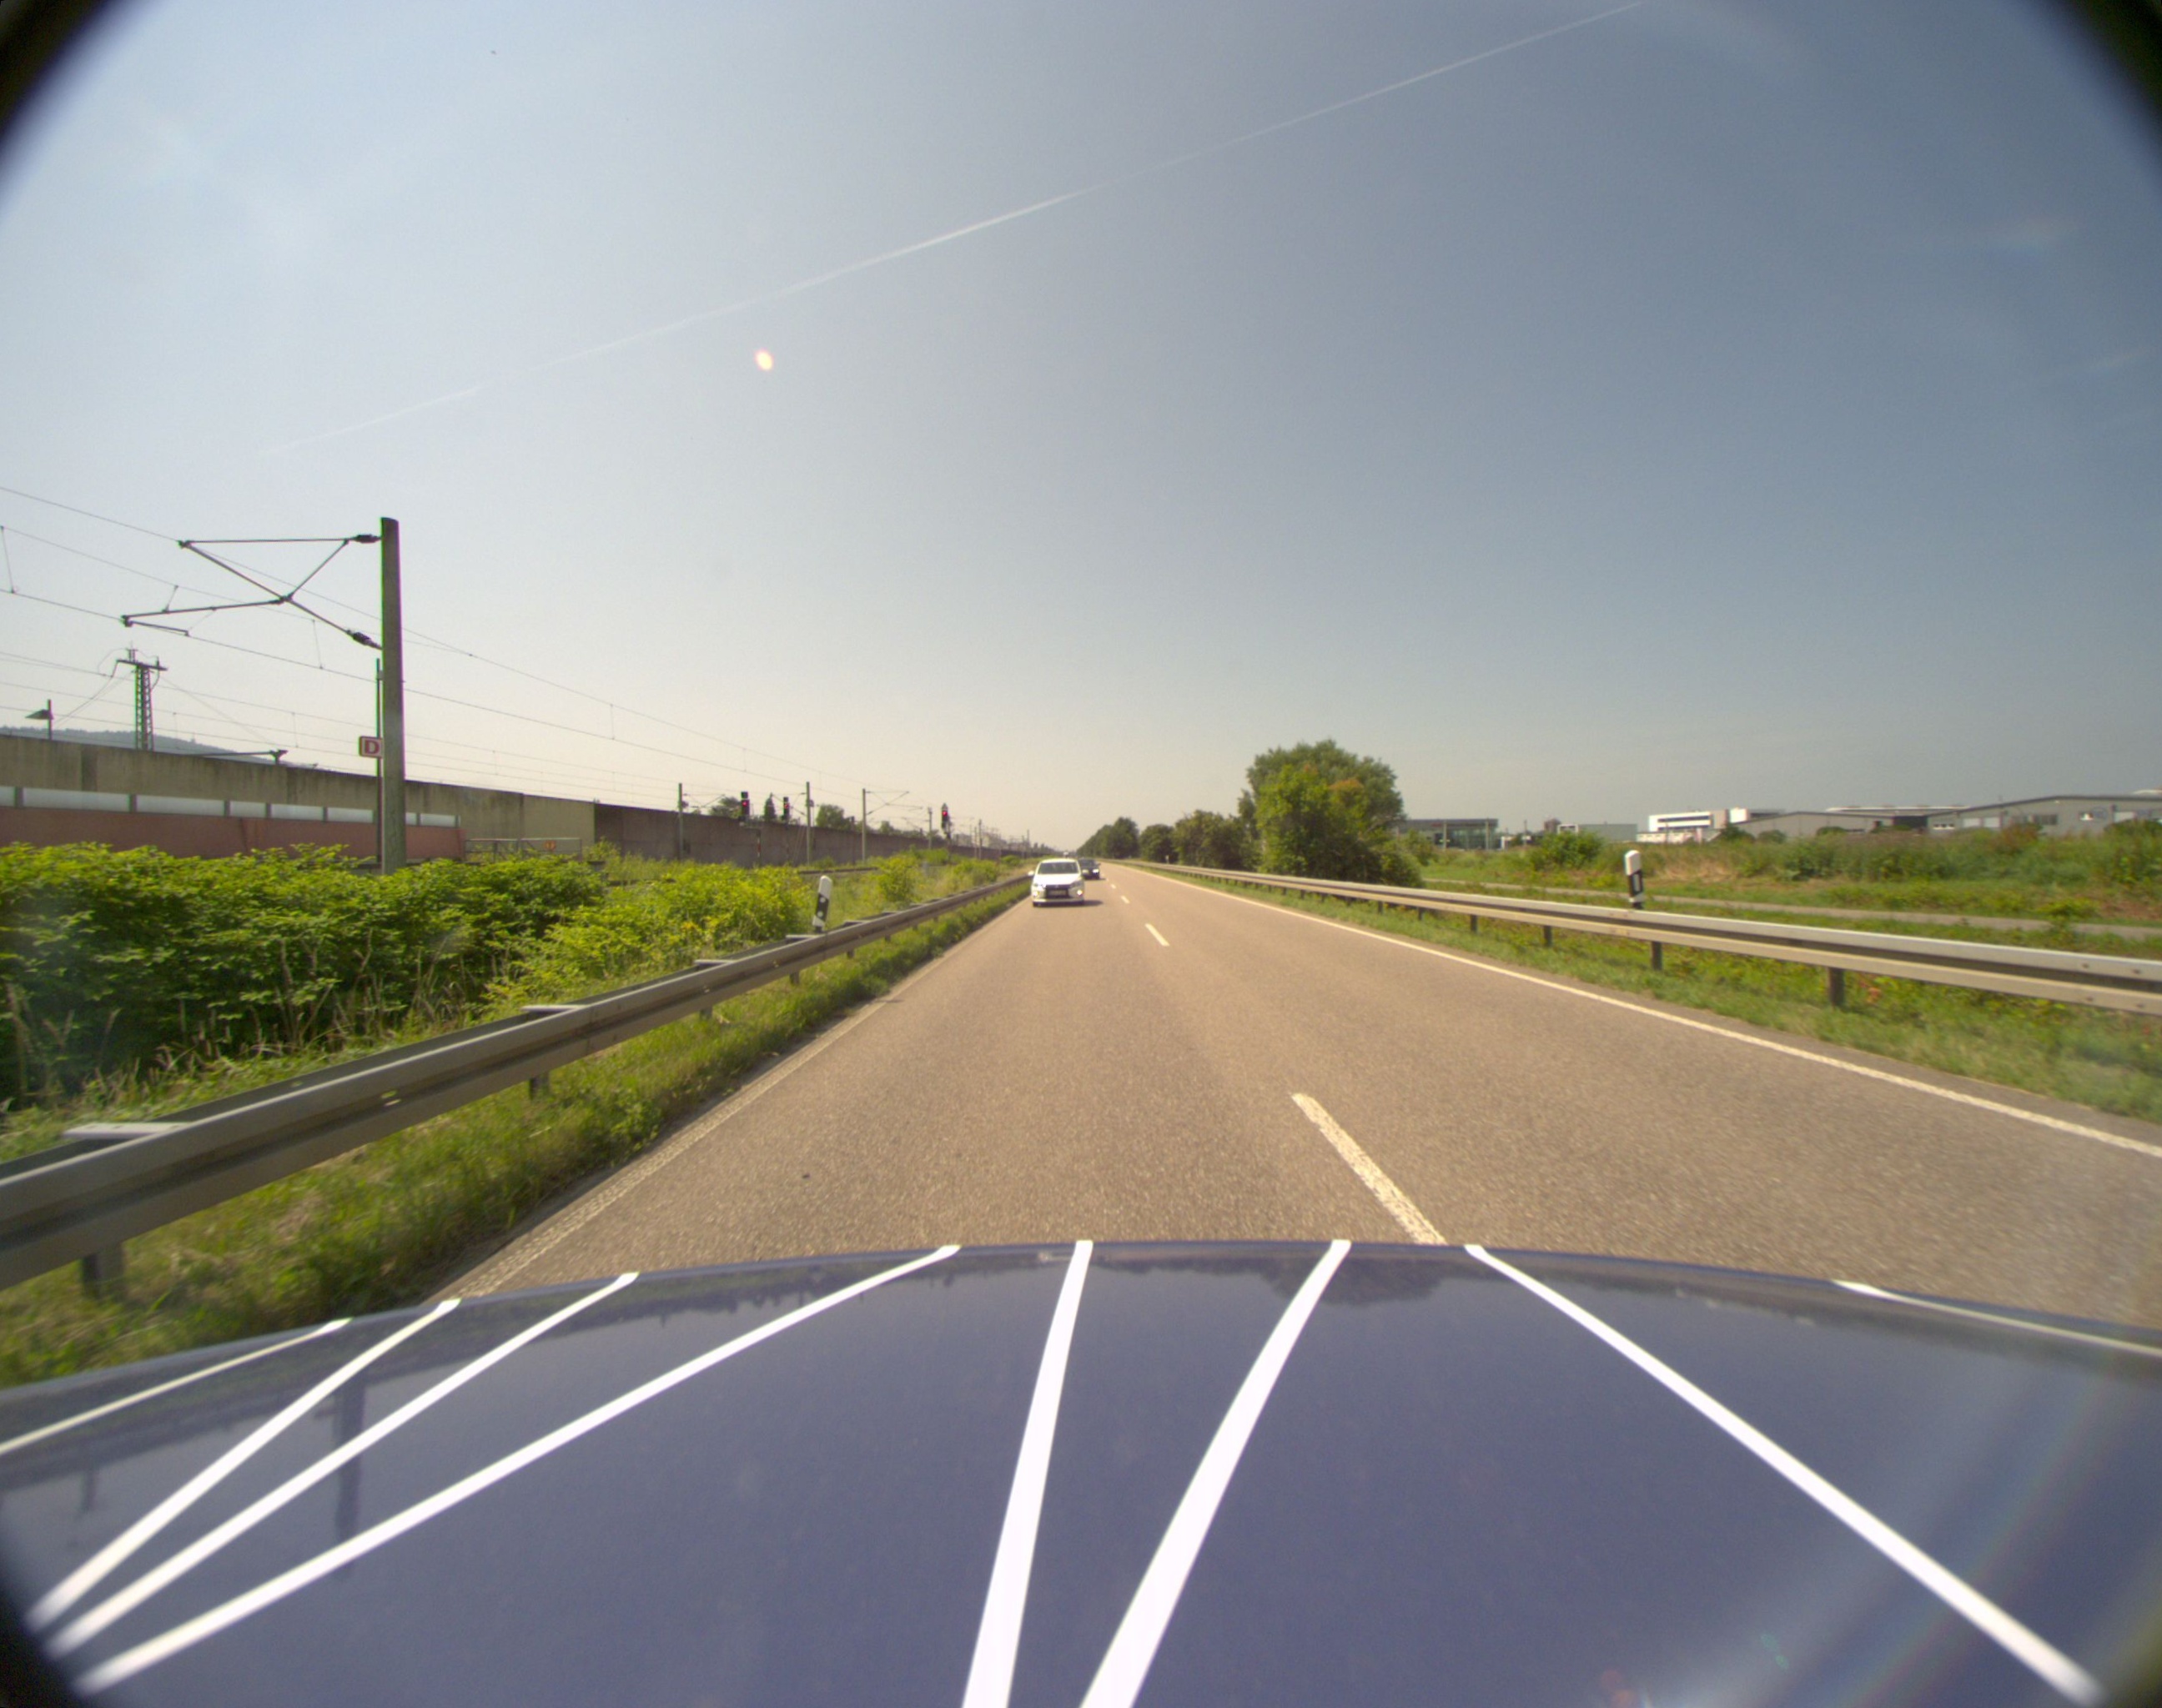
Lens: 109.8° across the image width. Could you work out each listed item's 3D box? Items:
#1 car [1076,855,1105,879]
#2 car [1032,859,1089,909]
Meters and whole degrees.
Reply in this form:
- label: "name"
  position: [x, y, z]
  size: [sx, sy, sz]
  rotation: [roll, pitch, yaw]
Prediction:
- label: "car"
  position: [0.601, 0.837, 50.792]
  size: [1.711, 1.470, 4.154]
  rotation: [-2, 0, -2]
- label: "car"
  position: [-0.685, 0.925, 25.204]
  size: [1.701, 1.470, 4.154]
  rotation: [-2, 0, -2]
